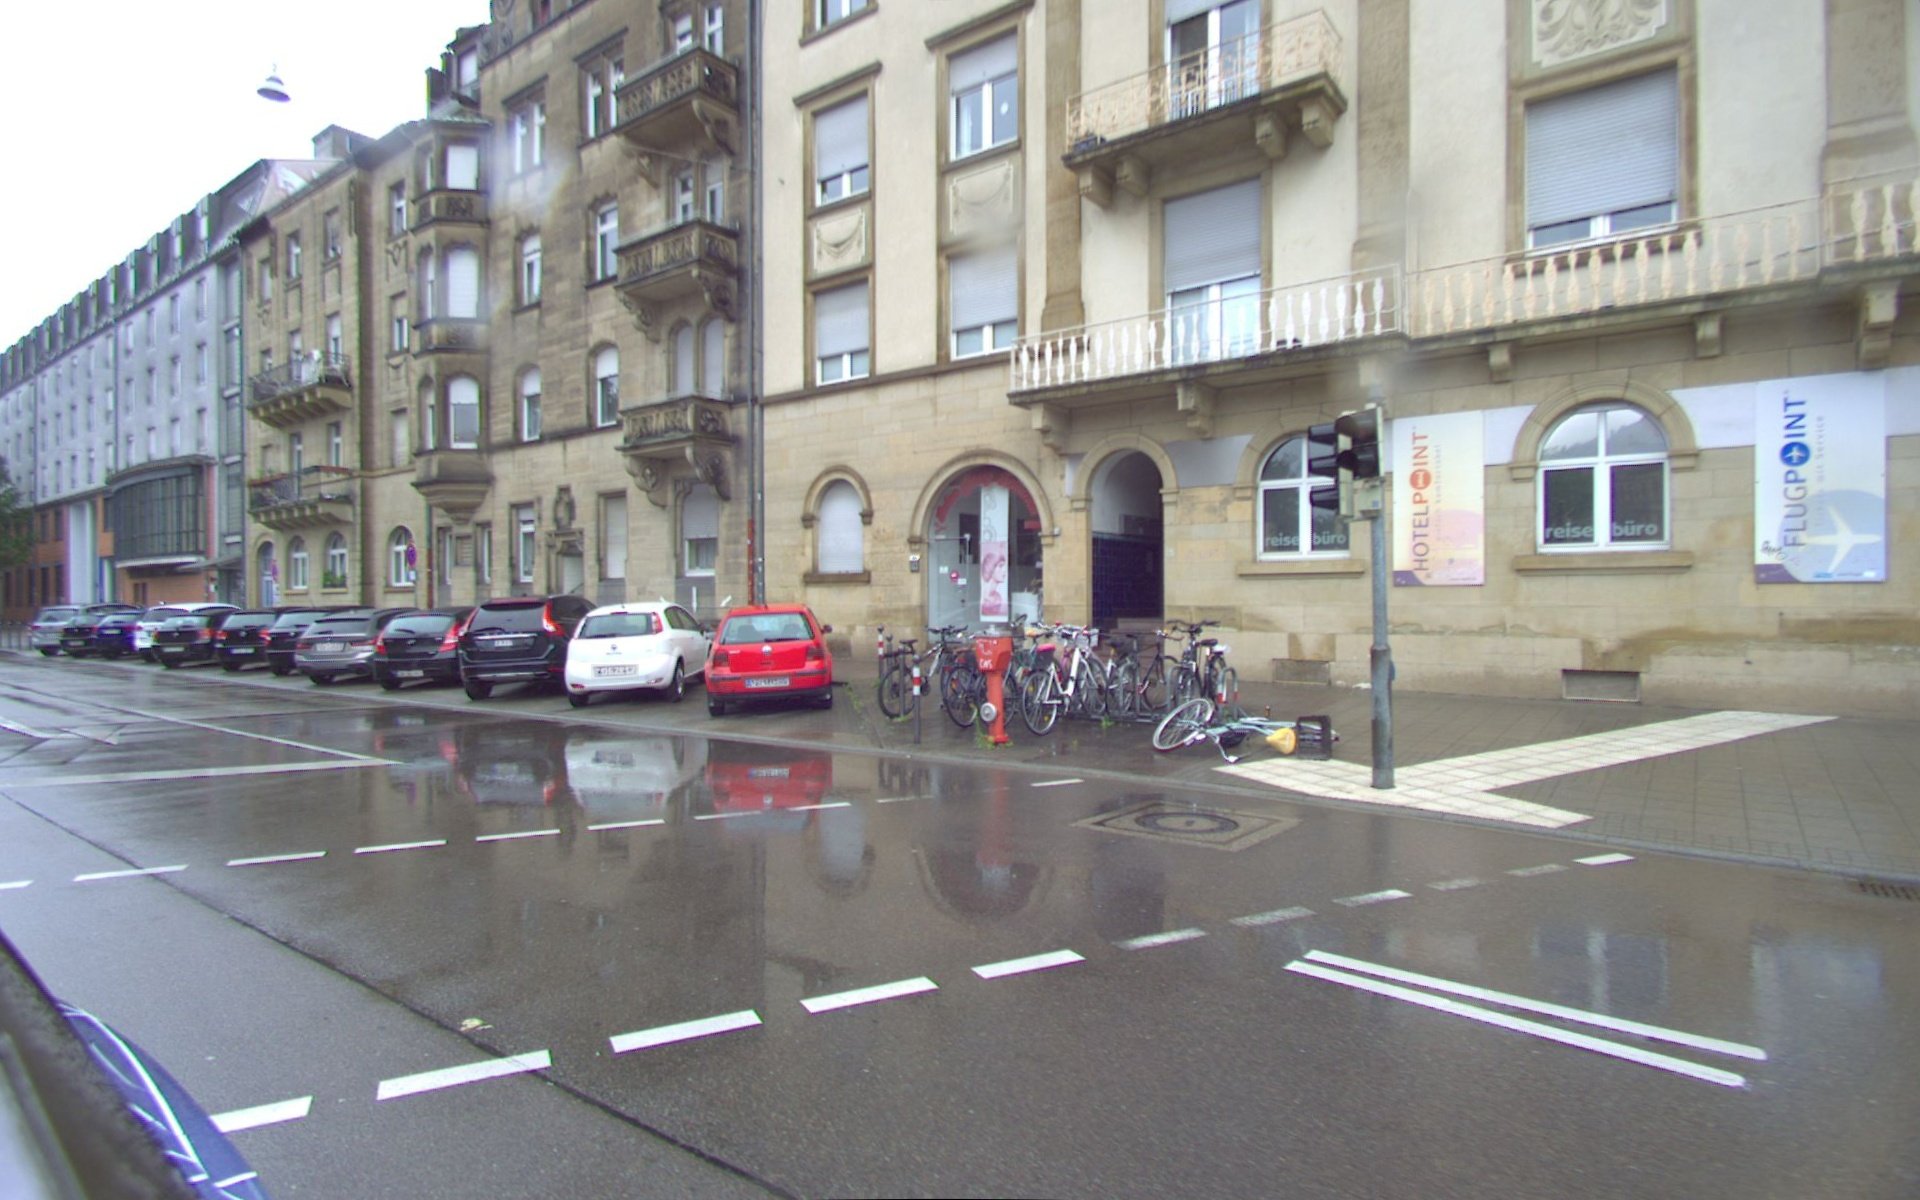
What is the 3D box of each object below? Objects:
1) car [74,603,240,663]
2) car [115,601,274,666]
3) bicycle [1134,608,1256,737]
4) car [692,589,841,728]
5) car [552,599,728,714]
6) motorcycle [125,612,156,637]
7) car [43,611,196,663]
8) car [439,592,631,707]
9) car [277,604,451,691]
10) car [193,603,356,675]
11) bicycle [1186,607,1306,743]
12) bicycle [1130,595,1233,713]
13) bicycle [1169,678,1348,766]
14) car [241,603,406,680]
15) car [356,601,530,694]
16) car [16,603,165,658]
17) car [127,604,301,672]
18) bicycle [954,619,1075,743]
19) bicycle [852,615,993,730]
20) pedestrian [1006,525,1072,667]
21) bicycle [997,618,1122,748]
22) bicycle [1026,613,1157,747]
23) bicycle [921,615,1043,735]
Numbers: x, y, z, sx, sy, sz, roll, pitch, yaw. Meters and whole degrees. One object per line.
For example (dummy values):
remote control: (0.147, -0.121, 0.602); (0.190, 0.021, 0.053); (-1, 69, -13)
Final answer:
car: (-24.317, 0.953, 30.830); (1.879, 1.539, 3.720); (0, 3, 7)
car: (-21.989, 0.901, 29.251); (1.754, 1.639, 3.728); (-2, 1, 0)
bicycle: (2.787, 0.774, 11.808); (0.638, 1.356, 2.322); (-1, -1, 33)
car: (-2.801, 0.715, 14.787); (1.774, 1.519, 4.010); (-3, 3, -10)
car: (-5.043, 0.804, 16.501); (1.680, 1.545, 3.996); (-2, 1, -2)
motorcycle: (-37.250, 1.103, 45.982); (2.359, 1.110, 0.592); (-1, -1, 38)
car: (-26.584, 1.127, 32.189); (1.695, 1.539, 3.724); (0, -1, 2)
car: (-7.293, 0.756, 17.840); (1.739, 1.704, 4.087); (-2, 1, -2)
car: (-12.333, 0.920, 21.205); (1.676, 1.555, 3.431); (-2, 1, -2)
car: (-17.061, 0.915, 25.413); (1.604, 1.555, 3.761); (-2, 1, -2)
bicycle: (3.248, 0.764, 11.315); (0.638, 1.356, 2.322); (-1, -1, 33)
bicycle: (2.816, 0.630, 12.693); (0.583, 1.356, 2.040); (-1, -1, 33)
bicycle: (2.764, 1.126, 9.557); (1.461, 0.668, 1.040); (0, 2, 7)
car: (-14.764, 0.911, 23.688); (1.606, 1.555, 3.442); (-2, 1, 2)
car: (-9.898, 0.853, 19.647); (1.677, 1.536, 3.311); (-2, 1, -1)
car: (-29.065, 1.002, 34.014); (1.789, 1.743, 3.926); (0, -1, -4)
car: (-19.679, 0.957, 26.907); (1.755, 1.555, 3.725); (-2, 1, 3)
bicycle: (0.667, 0.887, 11.700); (0.467, 1.193, 1.794); (-1, 3, 35)
bicycle: (-0.436, 0.854, 12.574); (0.600, 1.193, 1.791); (-1, 4, 43)
pedestrian: (1.353, -0.065, 17.402); (0.834, 2.357, 0.766); (0, -1, -30)
bicycle: (1.162, 0.874, 11.388); (0.474, 1.193, 1.963); (0, 3, 34)
bicycle: (1.478, 0.820, 11.095); (0.437, 1.340, 1.956); (-1, -1, 40)
bicycle: (0.296, 0.842, 12.046); (0.474, 1.193, 1.794); (-1, 3, 36)
